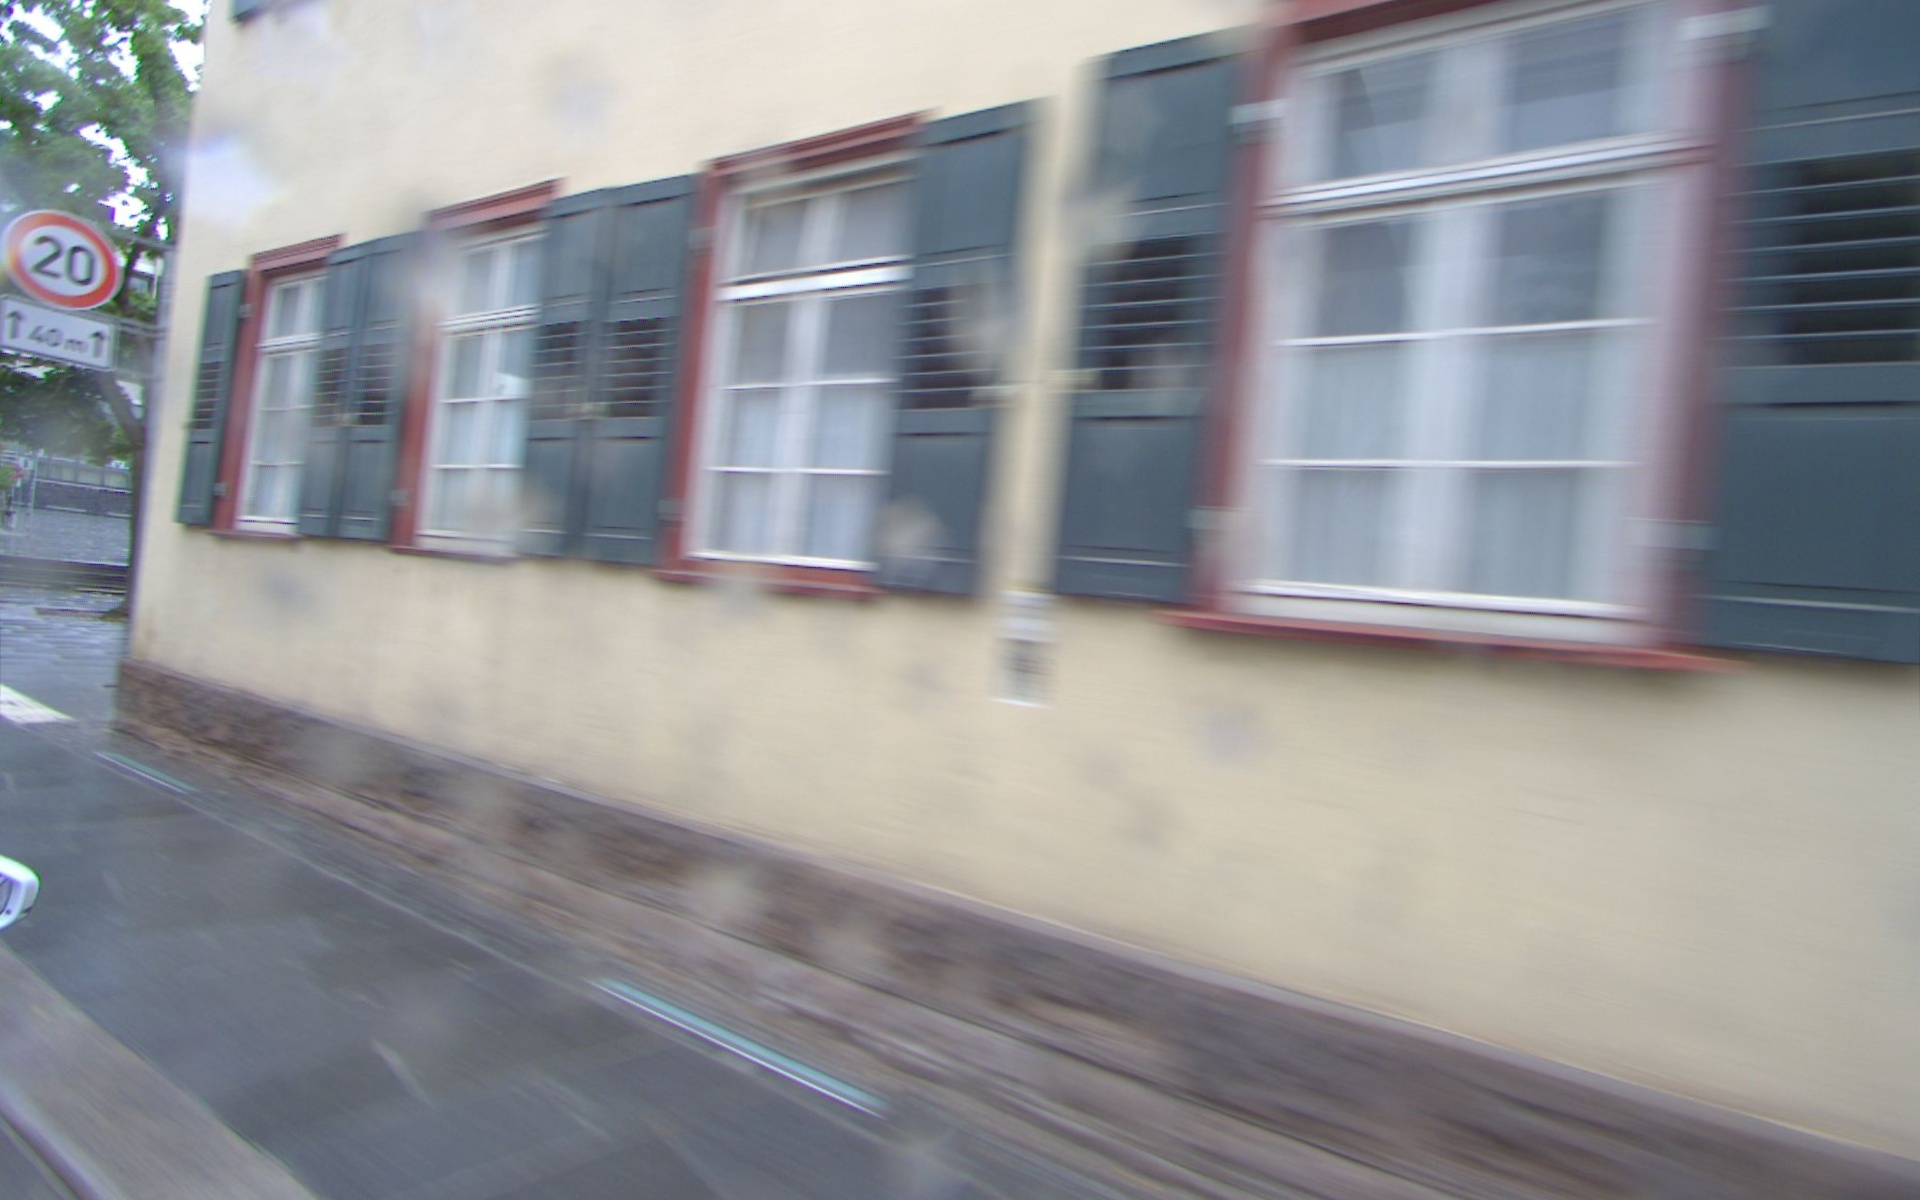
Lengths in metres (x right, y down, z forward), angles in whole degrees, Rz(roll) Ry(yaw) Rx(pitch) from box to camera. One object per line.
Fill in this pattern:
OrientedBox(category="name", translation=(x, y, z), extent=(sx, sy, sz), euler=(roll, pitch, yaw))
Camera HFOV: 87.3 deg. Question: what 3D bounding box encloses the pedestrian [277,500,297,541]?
OrientedBox(category="pedestrian", translation=(-37.666, -4.445, 56.293), extent=(0.754, 2.175, 0.651), euler=(4, 2, -41))
